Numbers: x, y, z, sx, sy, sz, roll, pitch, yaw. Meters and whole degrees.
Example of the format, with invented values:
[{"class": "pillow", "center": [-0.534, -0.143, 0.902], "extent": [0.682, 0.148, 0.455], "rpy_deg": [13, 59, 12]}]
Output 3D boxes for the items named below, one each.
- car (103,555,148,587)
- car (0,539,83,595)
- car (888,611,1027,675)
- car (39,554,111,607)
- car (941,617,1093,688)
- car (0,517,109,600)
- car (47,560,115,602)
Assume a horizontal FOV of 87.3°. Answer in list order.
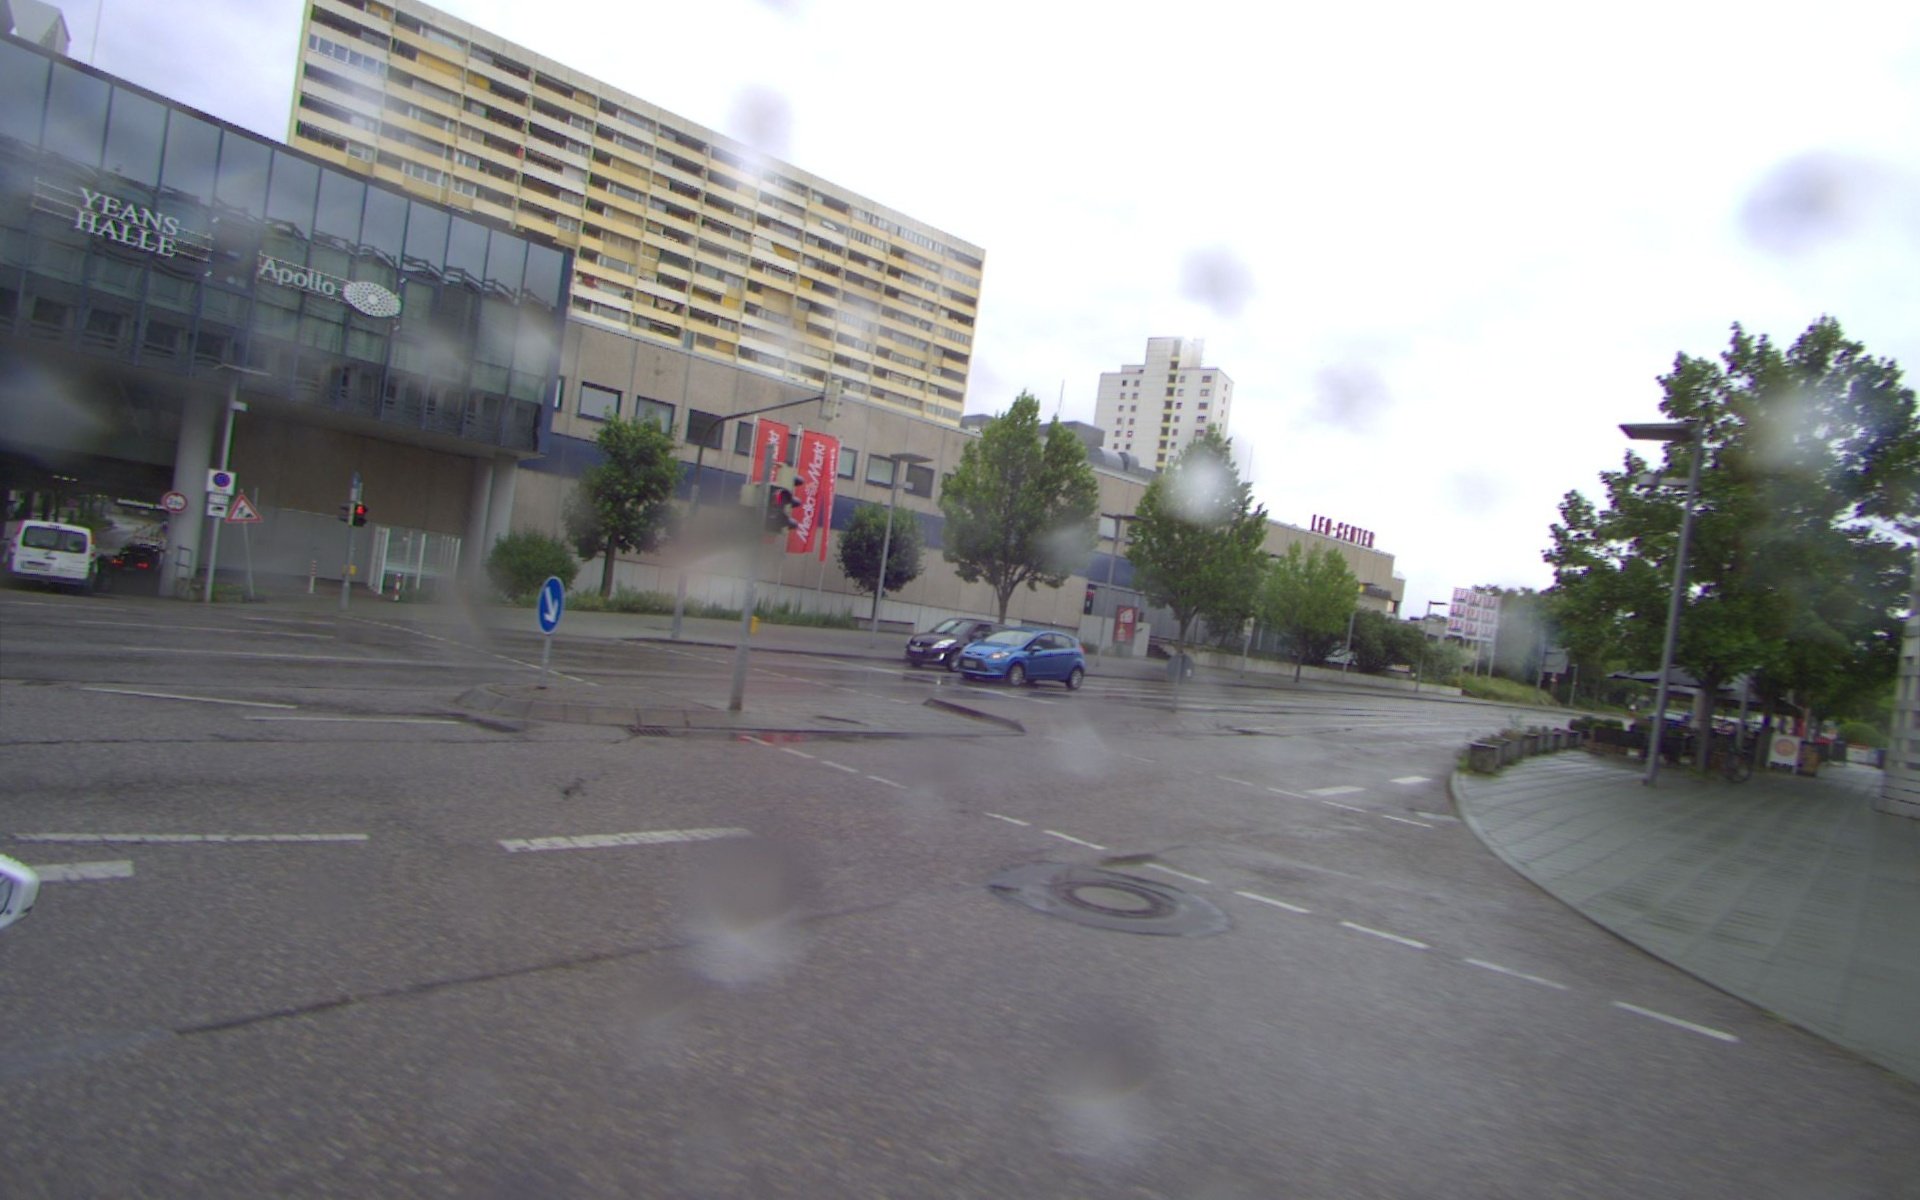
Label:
[{"class": "car", "center": [-50.677, -1.751, 61.068], "extent": [1.882, 1.508, 3.798], "rpy_deg": [10, -3, -41]}, {"class": "car", "center": [-29.382, -1.011, 31.893], "extent": [1.746, 1.480, 3.912], "rpy_deg": [7, -4, -33]}, {"class": "car", "center": [-0.013, 1.231, 28.337], "extent": [1.722, 1.411, 3.675], "rpy_deg": [6, -1, 45]}, {"class": "car", "center": [-31.805, -0.655, 36.260], "extent": [1.625, 1.629, 4.221], "rpy_deg": [7, -4, -39]}, {"class": "car", "center": [1.507, 1.363, 25.572], "extent": [1.657, 1.414, 3.834], "rpy_deg": [6, -1, 44]}, {"class": "car", "center": [-23.921, -1.106, 26.486], "extent": [1.921, 1.818, 4.245], "rpy_deg": [8, -3, -44]}, {"class": "car", "center": [-35.138, -0.769, 40.303], "extent": [1.771, 1.416, 3.959], "rpy_deg": [7, -3, -39]}]
